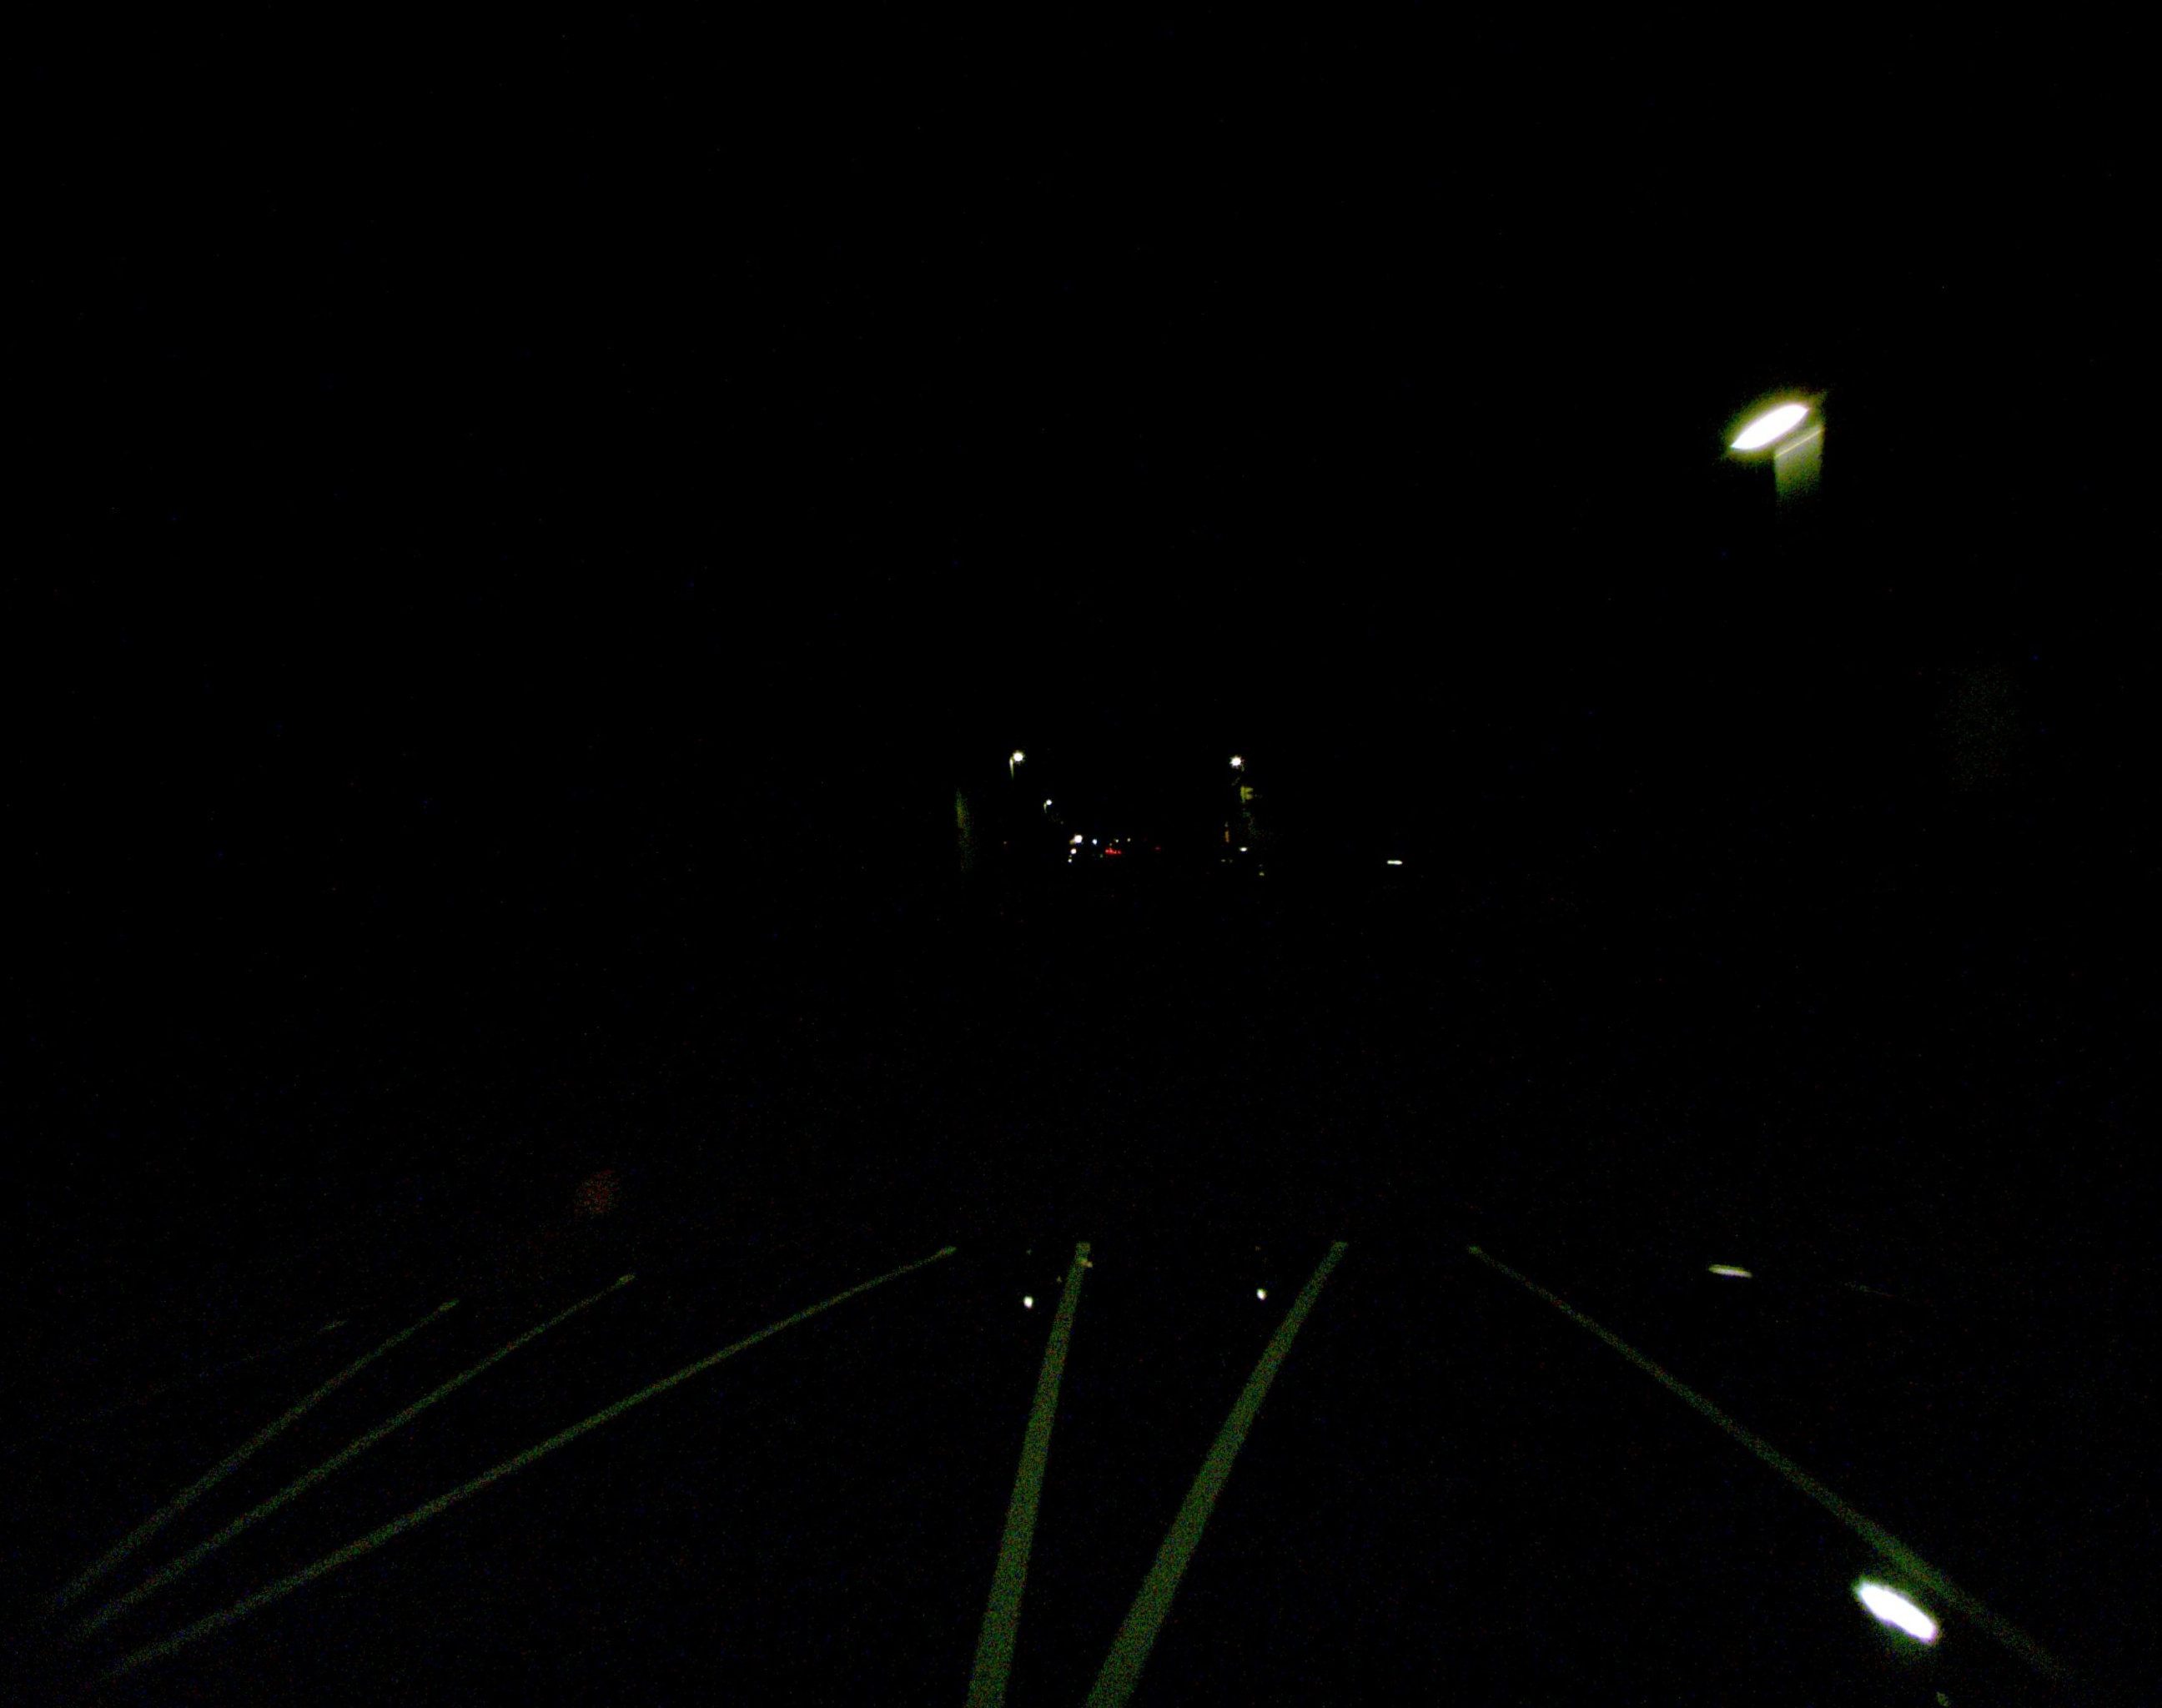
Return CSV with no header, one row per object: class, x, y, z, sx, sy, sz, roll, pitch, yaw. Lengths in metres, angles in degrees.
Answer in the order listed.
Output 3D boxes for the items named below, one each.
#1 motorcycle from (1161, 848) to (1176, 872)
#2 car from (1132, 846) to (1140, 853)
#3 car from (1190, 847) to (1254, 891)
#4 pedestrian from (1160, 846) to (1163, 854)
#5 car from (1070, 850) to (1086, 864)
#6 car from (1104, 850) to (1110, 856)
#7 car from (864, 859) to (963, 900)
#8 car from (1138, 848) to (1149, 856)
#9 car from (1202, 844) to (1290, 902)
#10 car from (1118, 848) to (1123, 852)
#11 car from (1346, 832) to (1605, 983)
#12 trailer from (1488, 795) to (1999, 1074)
motorcycle,5.505,0.373,47.716,0.747,1.444,2.197,-2,1,9
car,14.458,-1.115,199.620,1.814,1.637,3.804,-4,0,3
car,5.307,0.518,29.011,1.692,1.501,4.278,-3,0,1
pedestrian,16.979,-0.832,160.705,0.529,1.579,0.665,-3,1,-3
car,-0.323,0.384,92.205,1.747,1.560,4.209,-2,0,2
car,6.613,-0.268,194.156,1.606,1.474,3.699,-2,0,1
car,-7.140,1.074,32.576,3.720,1.464,1.730,-3,1,4
car,11.952,-0.355,145.330,1.900,1.411,4.931,-4,0,4
car,5.002,0.530,23.629,1.771,1.510,4.278,-4,0,1
car,13.588,-1.344,263.396,1.720,1.420,3.816,-2,0,4
car,4.847,0.579,9.820,1.675,1.513,2.978,-5,0,-1
trailer,5.155,0.508,6.580,1.451,1.678,3.426,-5,0,3
